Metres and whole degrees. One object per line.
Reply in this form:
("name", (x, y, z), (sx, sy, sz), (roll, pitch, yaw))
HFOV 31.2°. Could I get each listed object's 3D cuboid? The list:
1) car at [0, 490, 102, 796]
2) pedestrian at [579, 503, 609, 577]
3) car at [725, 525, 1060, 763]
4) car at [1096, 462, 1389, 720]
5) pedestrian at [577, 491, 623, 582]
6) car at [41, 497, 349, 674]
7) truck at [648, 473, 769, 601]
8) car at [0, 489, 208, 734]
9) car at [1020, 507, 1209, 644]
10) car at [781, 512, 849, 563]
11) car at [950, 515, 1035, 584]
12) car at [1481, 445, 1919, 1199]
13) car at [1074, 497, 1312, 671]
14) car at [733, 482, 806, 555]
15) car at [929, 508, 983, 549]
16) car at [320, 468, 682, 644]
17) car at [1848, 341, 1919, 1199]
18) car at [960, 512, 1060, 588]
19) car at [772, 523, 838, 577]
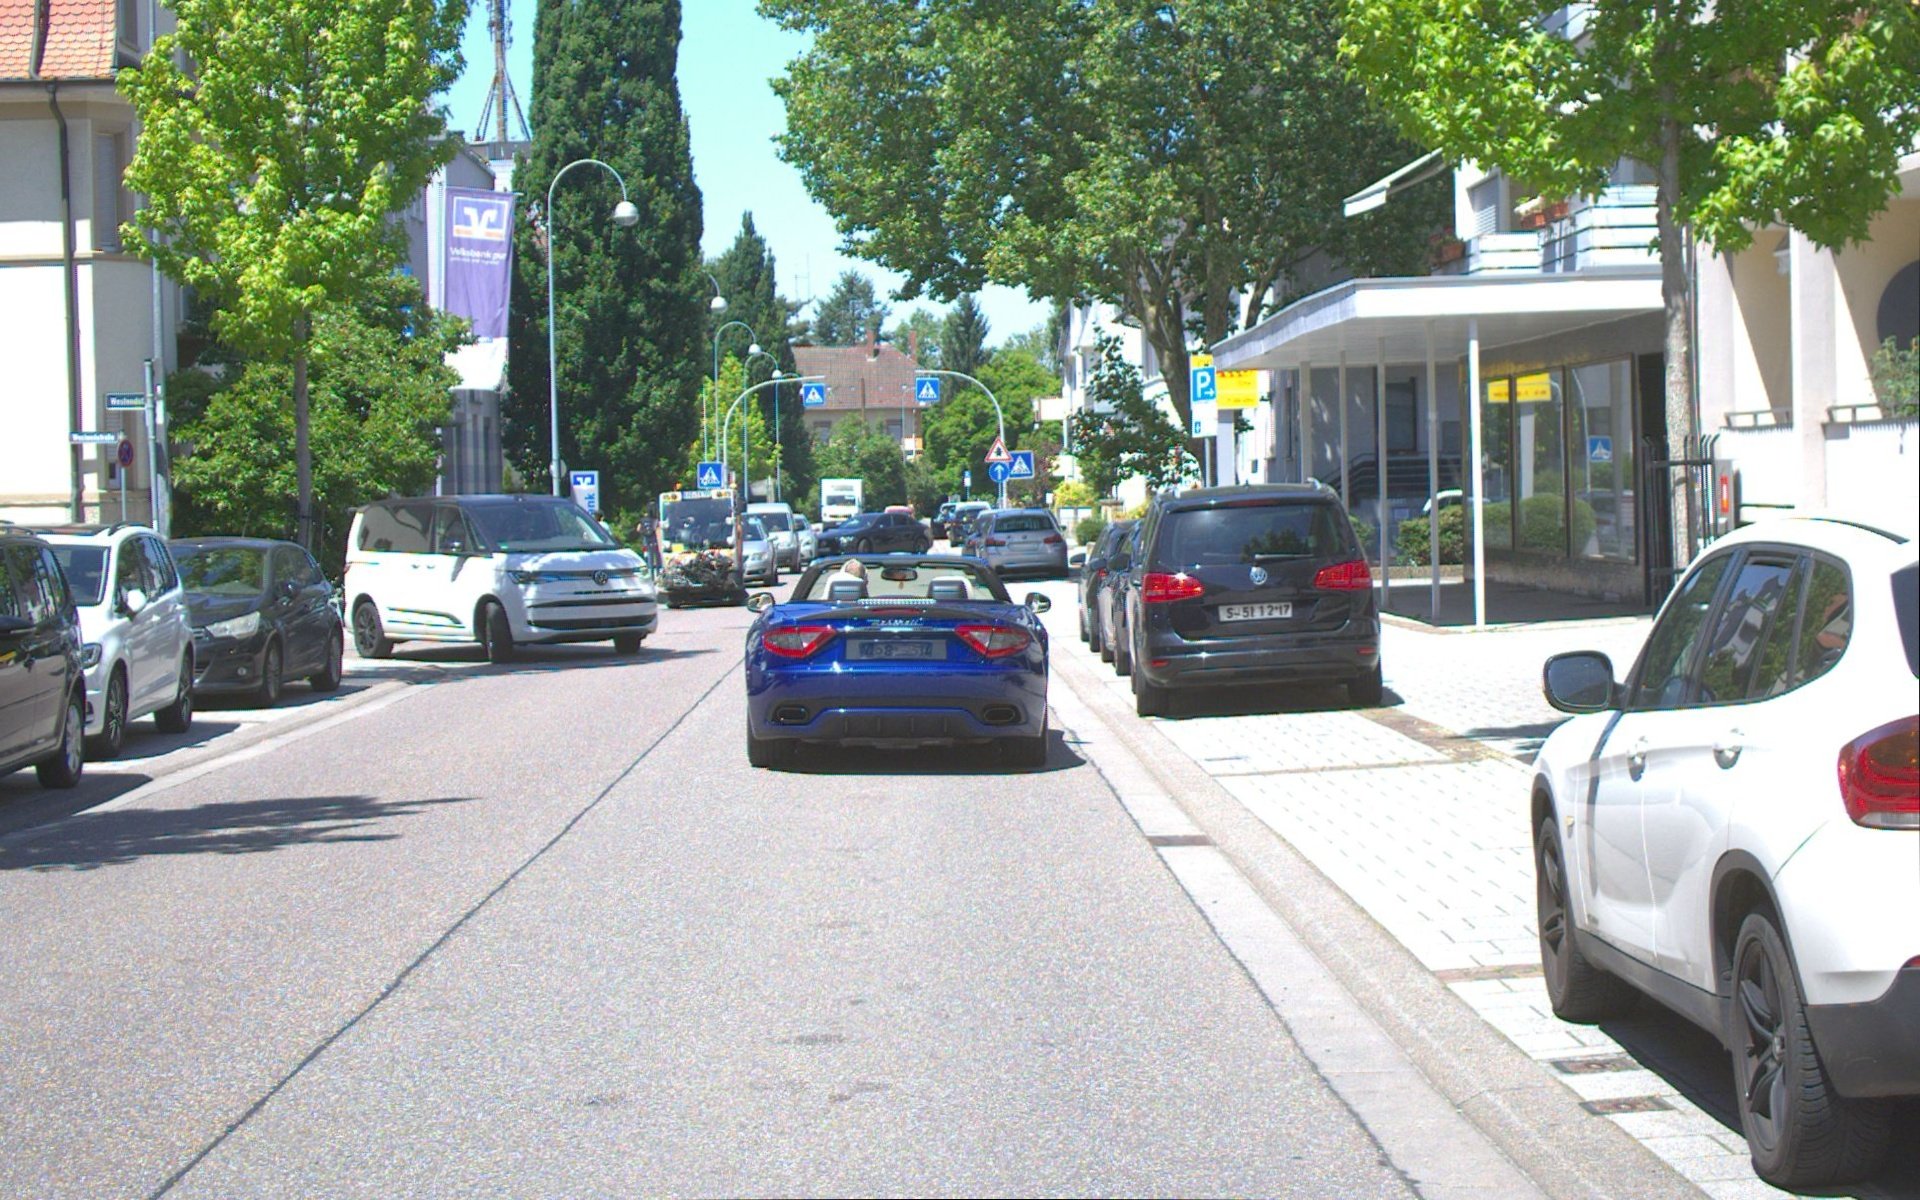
("car", (-6.362, 0.210, 20.020), (1.728, 1.734, 4.393), (3, 2, -2))
("pedestrian", (-7.832, -1.286, 73.572), (0.587, 1.569, 0.781), (0, 1, -2))
("car", (-0.506, 0.213, 22.748), (1.976, 1.393, 4.628), (1, 1, -3))
("car", (2.146, -0.157, 27.290), (1.993, 1.792, 4.569), (-1, 3, 1))
("pedestrian", (-7.698, -1.361, 73.563), (0.849, 1.909, 0.761), (-1, 3, 1))
("car", (-6.957, -0.171, 31.695), (1.754, 1.469, 4.321), (2, 1, 1))
("truck", (-4.324, -1.130, 59.712), (1.804, 2.110, 4.715), (-1, 2, -1))
("car", (-6.902, 0.009, 25.493), (1.824, 1.614, 4.393), (1, 2, -2))
("car", (1.668, -0.289, 38.337), (1.845, 1.409, 4.163), (-1, 1, -1))
("car", (-4.335, -1.896, 103.192), (1.950, 1.471, 4.138), (-1, 2, -1))
("car", (0.779, -1.289, 85.965), (1.976, 1.551, 4.350), (-2, 2, -1))
("car", (2.525, 0.431, 8.889), (1.722, 1.578, 4.225), (-1, 1, 1))
("car", (2.172, -0.181, 33.166), (1.894, 1.525, 4.569), (-1, 1, -1))
("car", (-4.802, -2.093, 87.049), (1.769, 1.761, 4.138), (-1, 2, -2))
("car", (-0.166, -2.731, 130.644), (1.950, 1.471, 4.138), (-1, 2, -1))
("car", (-5.431, -0.513, 40.175), (1.907, 1.916, 4.904), (-2, 2, -38))
("car", (2.433, 0.465, 3.503), (1.764, 1.700, 4.706), (-1, 1, -1))
("car", (1.035, -1.097, 73.721), (1.976, 1.445, 4.350), (-2, 2, -1))
("car", (-4.390, -1.444, 98.037), (1.769, 1.471, 4.138), (-1, 2, -1))
